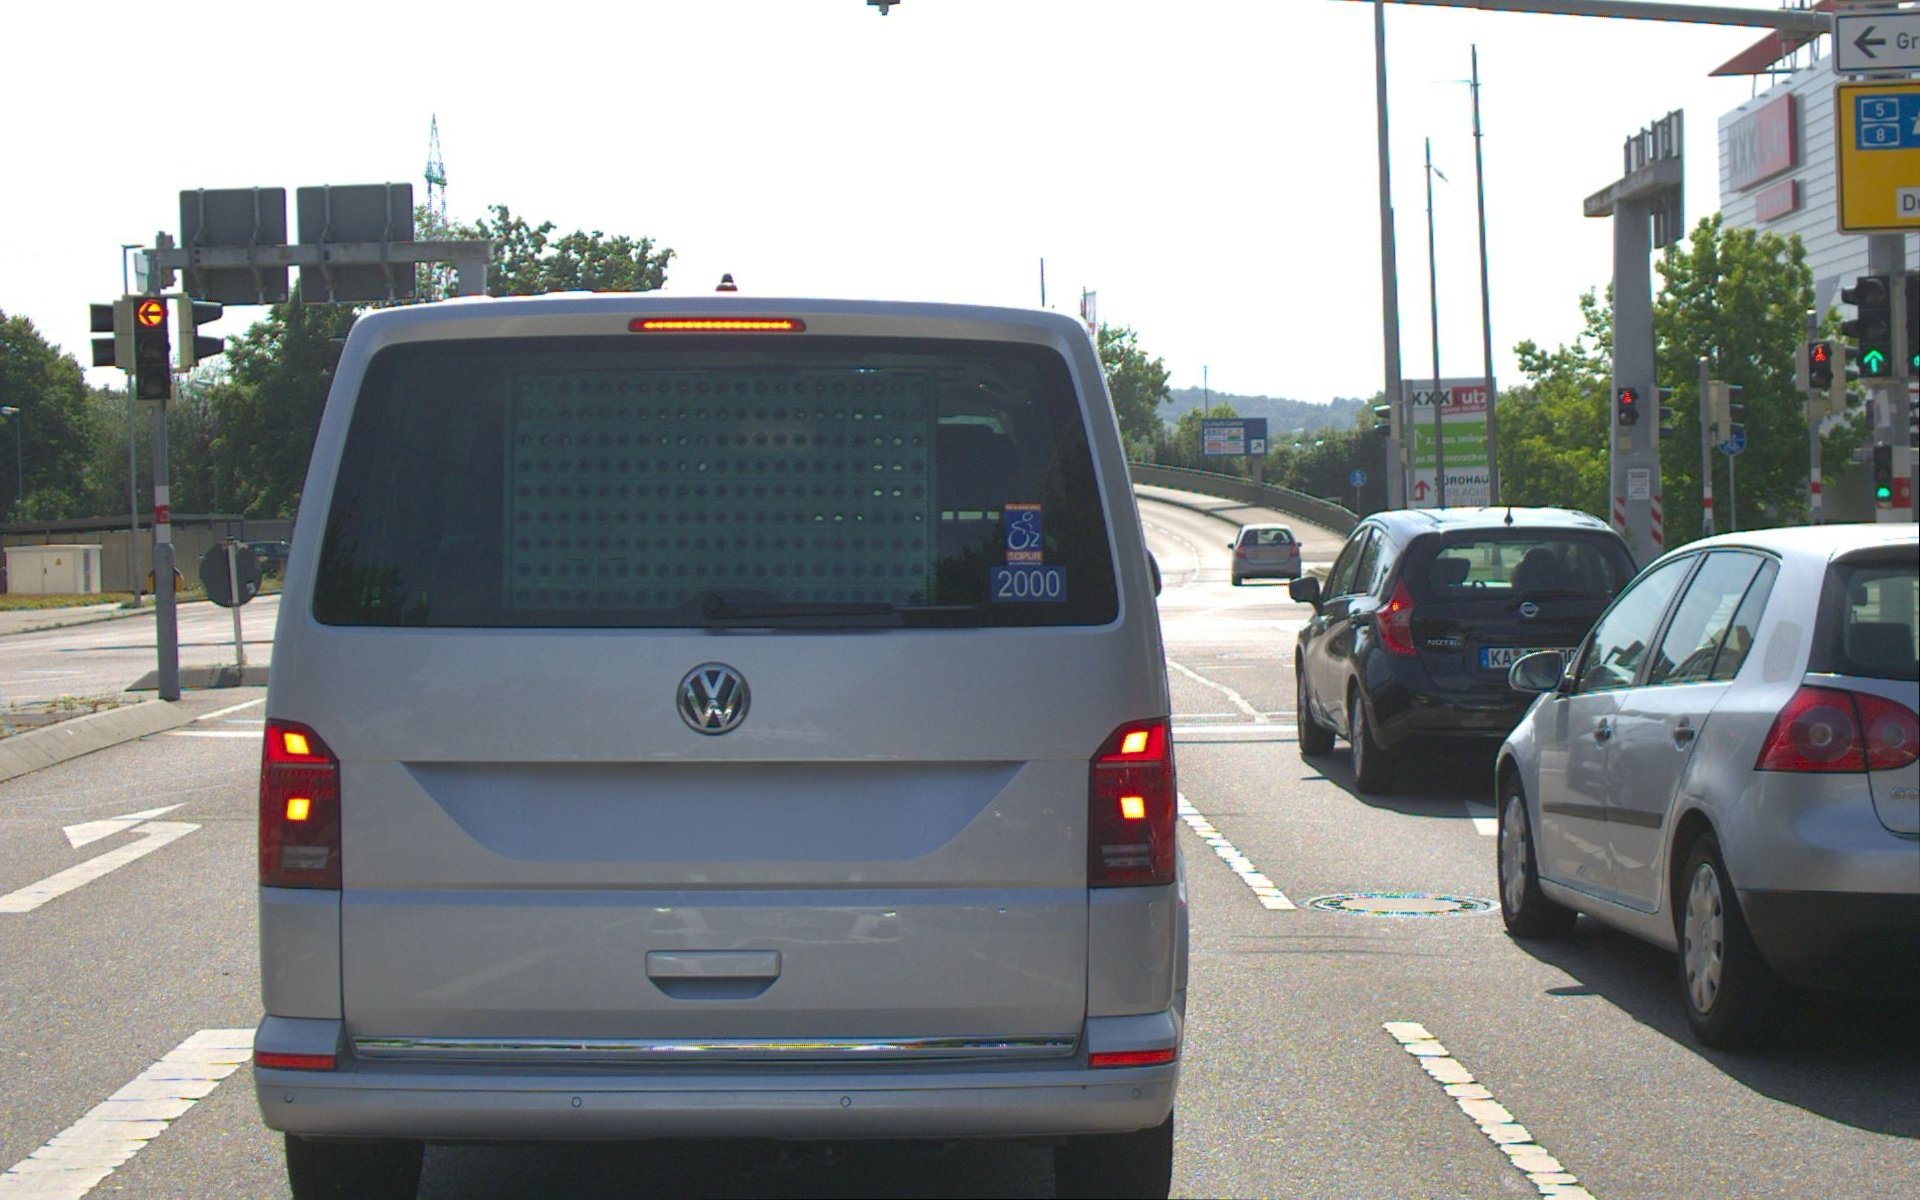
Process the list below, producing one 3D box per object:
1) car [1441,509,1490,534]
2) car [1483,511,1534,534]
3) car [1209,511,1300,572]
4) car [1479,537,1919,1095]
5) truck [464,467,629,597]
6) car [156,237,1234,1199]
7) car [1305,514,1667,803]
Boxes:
[{"bbox_3d":[32.056,-4.969,218.054,1.883,1.514,4.001,1,1,-9],"label":"car"},{"bbox_3d":[34.775,-4.911,218.091,1.993,1.415,4.001,1,1,-9],"label":"car"},{"bbox_3d":[7.289,-1.466,85.426,1.530,1.433,3.248,-2,1,-8],"label":"car"},{"bbox_3d":[2.782,0.524,10.724,1.666,1.409,3.683,0,1,-2],"label":"car"},{"bbox_3d":[-12.307,-2.091,102.991,2.747,3.667,7.577,-2,1,10],"label":"truck"},{"bbox_3d":[-0.500,0.284,8.283,1.917,1.968,4.297,0,1,-1],"label":"car"},{"bbox_3d":[2.877,0.257,19.419,1.531,1.474,3.596,0,1,1],"label":"car"}]
